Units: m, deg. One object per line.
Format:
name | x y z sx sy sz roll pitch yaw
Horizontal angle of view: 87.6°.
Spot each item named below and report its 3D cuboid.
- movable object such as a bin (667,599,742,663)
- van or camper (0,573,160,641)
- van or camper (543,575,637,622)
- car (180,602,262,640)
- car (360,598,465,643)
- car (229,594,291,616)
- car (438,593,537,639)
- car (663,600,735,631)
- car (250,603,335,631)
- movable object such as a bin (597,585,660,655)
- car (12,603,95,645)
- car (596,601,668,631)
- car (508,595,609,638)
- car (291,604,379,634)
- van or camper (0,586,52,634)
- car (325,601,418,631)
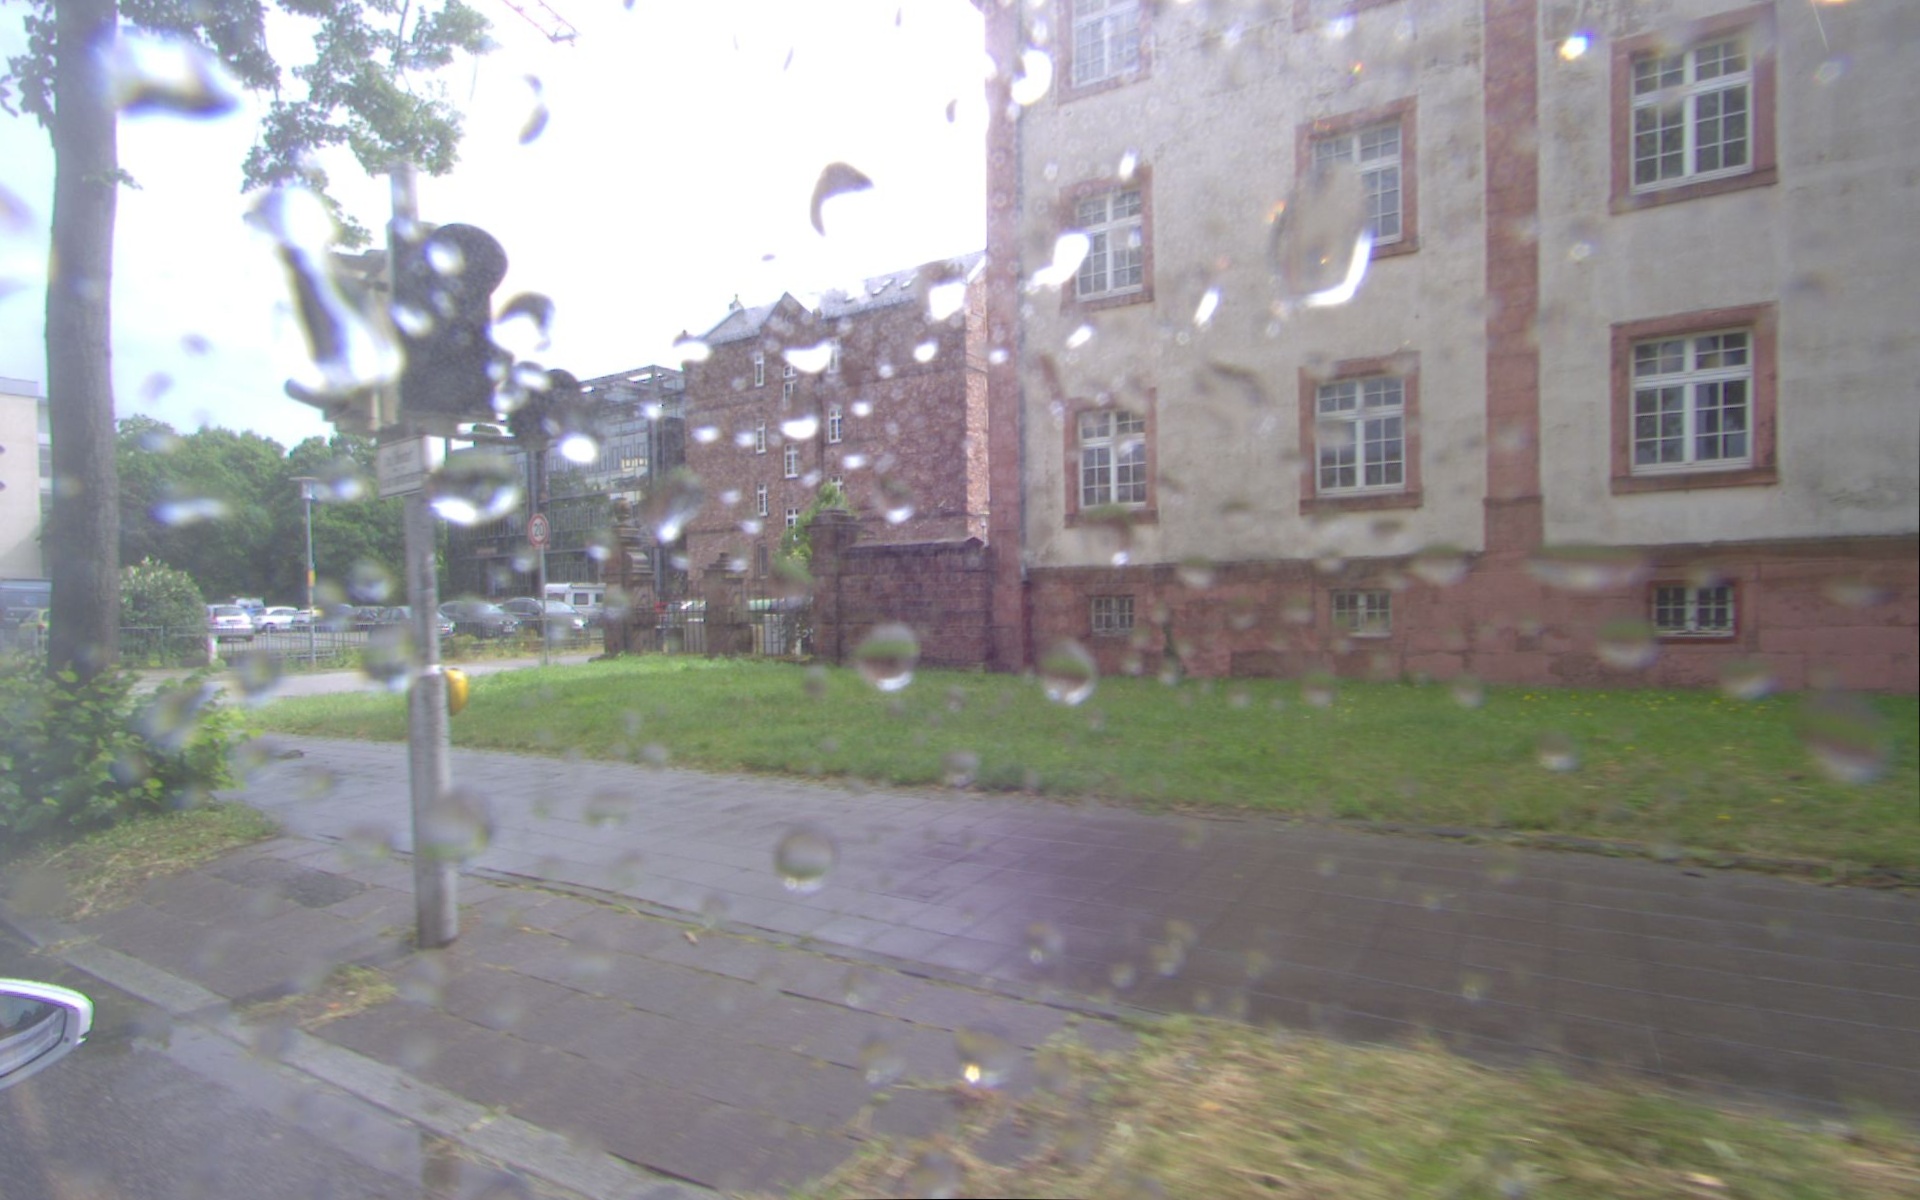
movable object such as a bin | -6.161 0.729 24.163 1.371 1.477 1.103 0 2 34
van or camper | -36.130 0.303 40.866 2.145 2.587 4.986 -2 -1 34
van or camper | -21.421 -0.034 58.175 2.226 2.518 4.778 -2 -2 32
car | -30.679 0.859 41.554 3.669 1.506 1.643 -1 1 36
car | -20.489 0.754 37.444 4.367 1.547 1.822 -1 1 38
car | -48.318 0.338 69.176 1.489 1.416 3.214 -1 1 36
car | -19.013 0.635 40.256 4.369 1.701 1.845 -1 1 39
car | -14.313 0.830 55.046 1.649 1.545 3.656 -1 1 34
car | -37.848 0.951 56.830 1.618 1.506 3.654 -1 1 36
movable object such as a bin | -7.292 0.426 22.041 1.082 1.477 0.797 0 2 34
car | -34.027 0.883 37.556 3.371 1.468 1.605 -1 1 36
car | -18.737 0.884 57.365 1.649 1.598 3.656 -1 1 34
car | -17.045 0.696 42.426 4.363 1.701 1.847 -1 1 35
car | -33.468 1.007 53.714 1.618 1.506 3.654 -1 1 36
van or camper | -44.957 0.468 45.745 2.291 2.160 4.743 0 0 36
car | -31.182 0.826 53.151 1.649 1.485 3.963 -1 1 34
